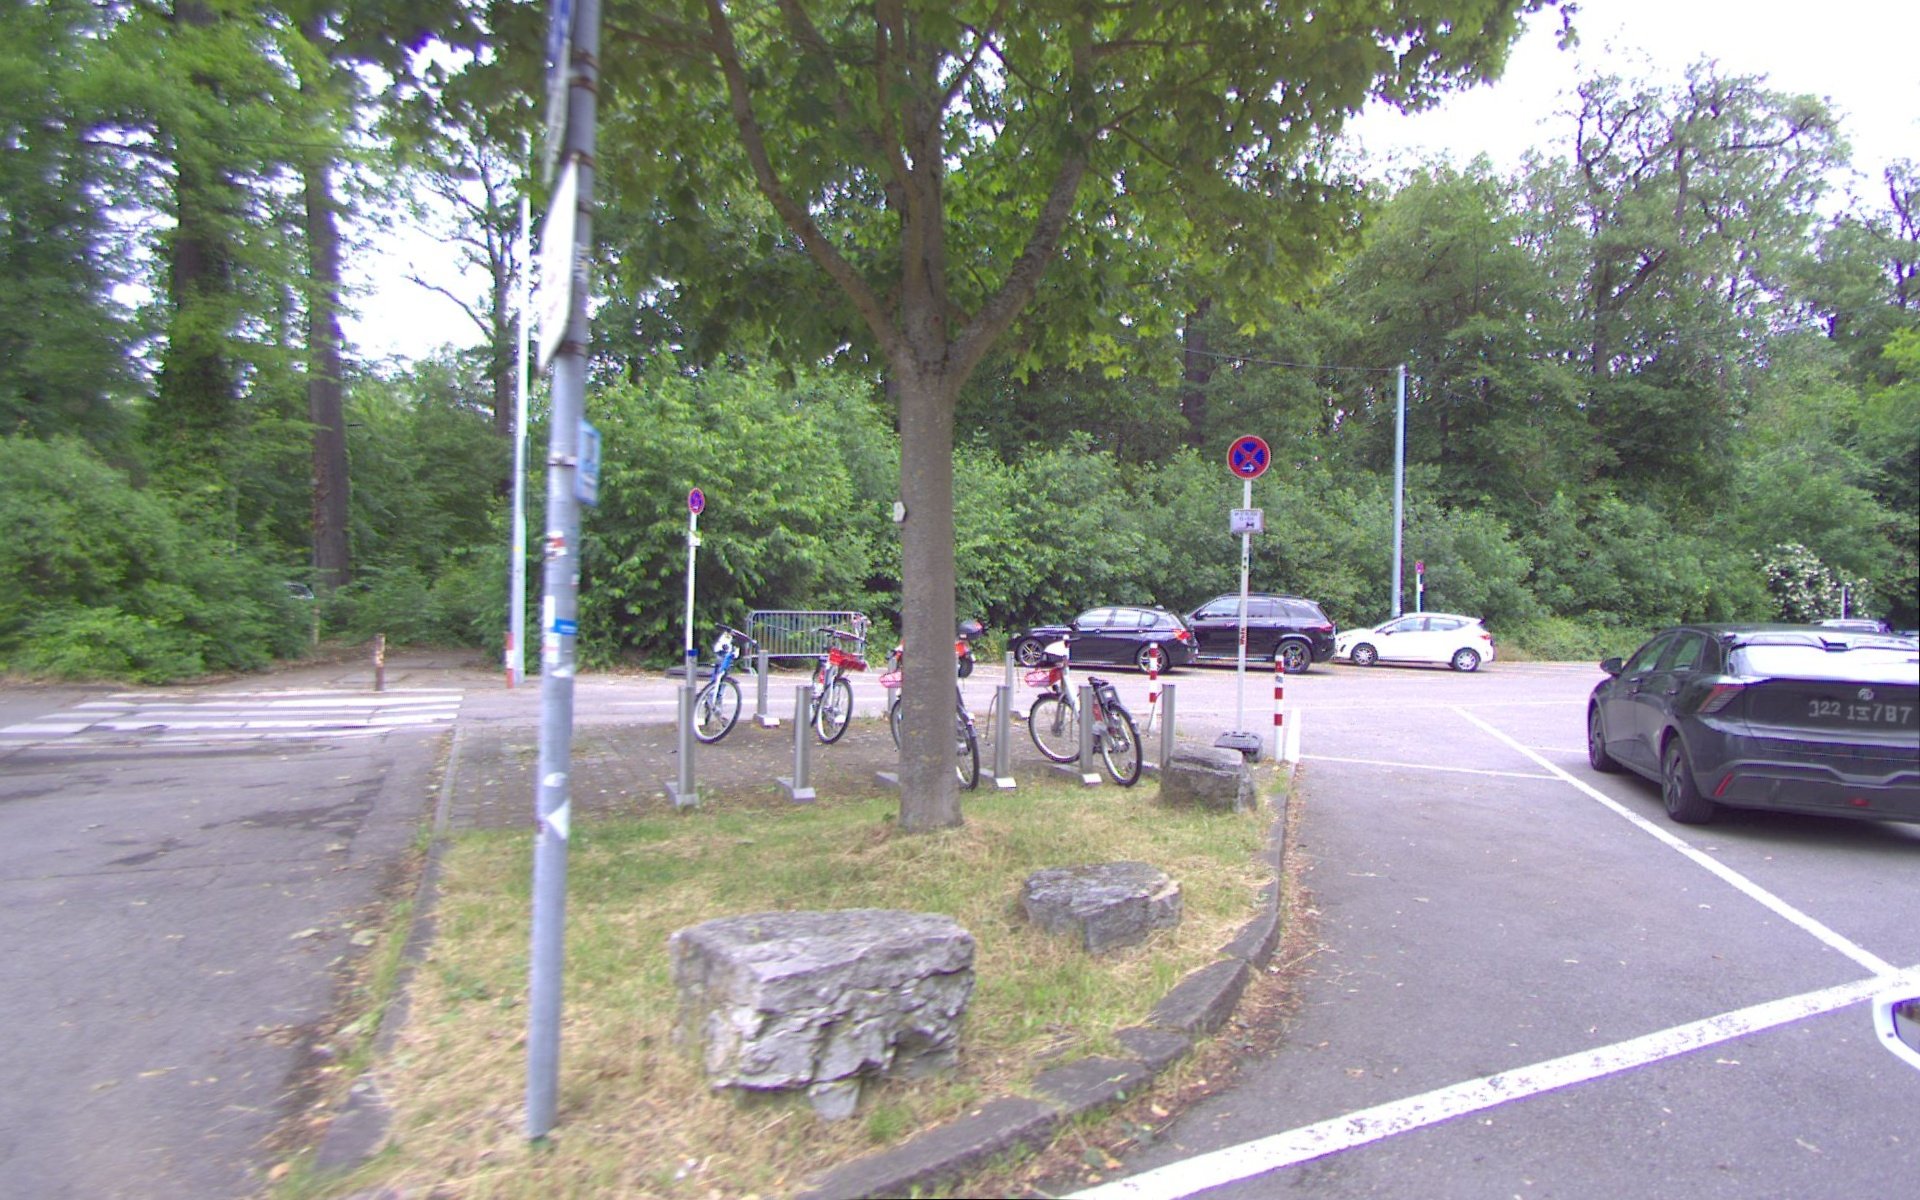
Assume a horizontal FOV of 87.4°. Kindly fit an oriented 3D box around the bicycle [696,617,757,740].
[{"bbox_3d":[-2.441,0.762,10.396,0.475,1.126,1.691,2,0,-17],"label":"bicycle"}]

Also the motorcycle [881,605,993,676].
[{"bbox_3d":[-0.443,0.740,18.894,1.993,1.224,0.729,2,0,30],"label":"motorcycle"}]

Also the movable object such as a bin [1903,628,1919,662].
[{"bbox_3d":[38.380,1.798,39.929,1.108,1.332,1.181,2,0,35],"label":"movable object such as a bin"}]

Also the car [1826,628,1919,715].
[{"bbox_3d":[17.821,1.292,18.007,1.832,1.461,4.318,2,0,17],"label":"car"}]

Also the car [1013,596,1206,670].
[{"bbox_3d":[3.315,0.685,22.197,3.921,1.394,1.740,2,0,20],"label":"car"}]

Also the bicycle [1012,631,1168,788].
[{"bbox_3d":[1.052,0.866,8.564,0.475,1.126,1.779,2,0,-22],"label":"bicycle"}]

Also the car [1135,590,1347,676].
[{"bbox_3d":[6.664,0.726,23.831,4.616,1.790,2.112,1,0,20],"label":"car"}]

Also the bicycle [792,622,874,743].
[{"bbox_3d":[-1.377,0.828,10.638,0.498,1.126,1.678,2,0,-19],"label":"bicycle"}]

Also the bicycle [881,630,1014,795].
[{"bbox_3d":[-0.149,0.842,8.130,0.475,1.126,1.676,2,0,-22],"label":"bicycle"}]

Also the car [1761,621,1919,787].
[{"bbox_3d":[10.069,1.013,10.033,1.839,1.503,4.001,2,0,17],"label":"car"}]

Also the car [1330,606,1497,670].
[{"bbox_3d":[12.055,0.972,26.985,3.921,1.531,1.869,1,0,20],"label":"car"}]

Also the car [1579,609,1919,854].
[{"bbox_3d":[6.738,0.893,8.527,1.795,1.543,4.099,2,0,22],"label":"car"}]

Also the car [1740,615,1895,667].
[{"bbox_3d":[32.173,1.511,37.818,3.992,1.707,1.880,2,0,21],"label":"car"}]
